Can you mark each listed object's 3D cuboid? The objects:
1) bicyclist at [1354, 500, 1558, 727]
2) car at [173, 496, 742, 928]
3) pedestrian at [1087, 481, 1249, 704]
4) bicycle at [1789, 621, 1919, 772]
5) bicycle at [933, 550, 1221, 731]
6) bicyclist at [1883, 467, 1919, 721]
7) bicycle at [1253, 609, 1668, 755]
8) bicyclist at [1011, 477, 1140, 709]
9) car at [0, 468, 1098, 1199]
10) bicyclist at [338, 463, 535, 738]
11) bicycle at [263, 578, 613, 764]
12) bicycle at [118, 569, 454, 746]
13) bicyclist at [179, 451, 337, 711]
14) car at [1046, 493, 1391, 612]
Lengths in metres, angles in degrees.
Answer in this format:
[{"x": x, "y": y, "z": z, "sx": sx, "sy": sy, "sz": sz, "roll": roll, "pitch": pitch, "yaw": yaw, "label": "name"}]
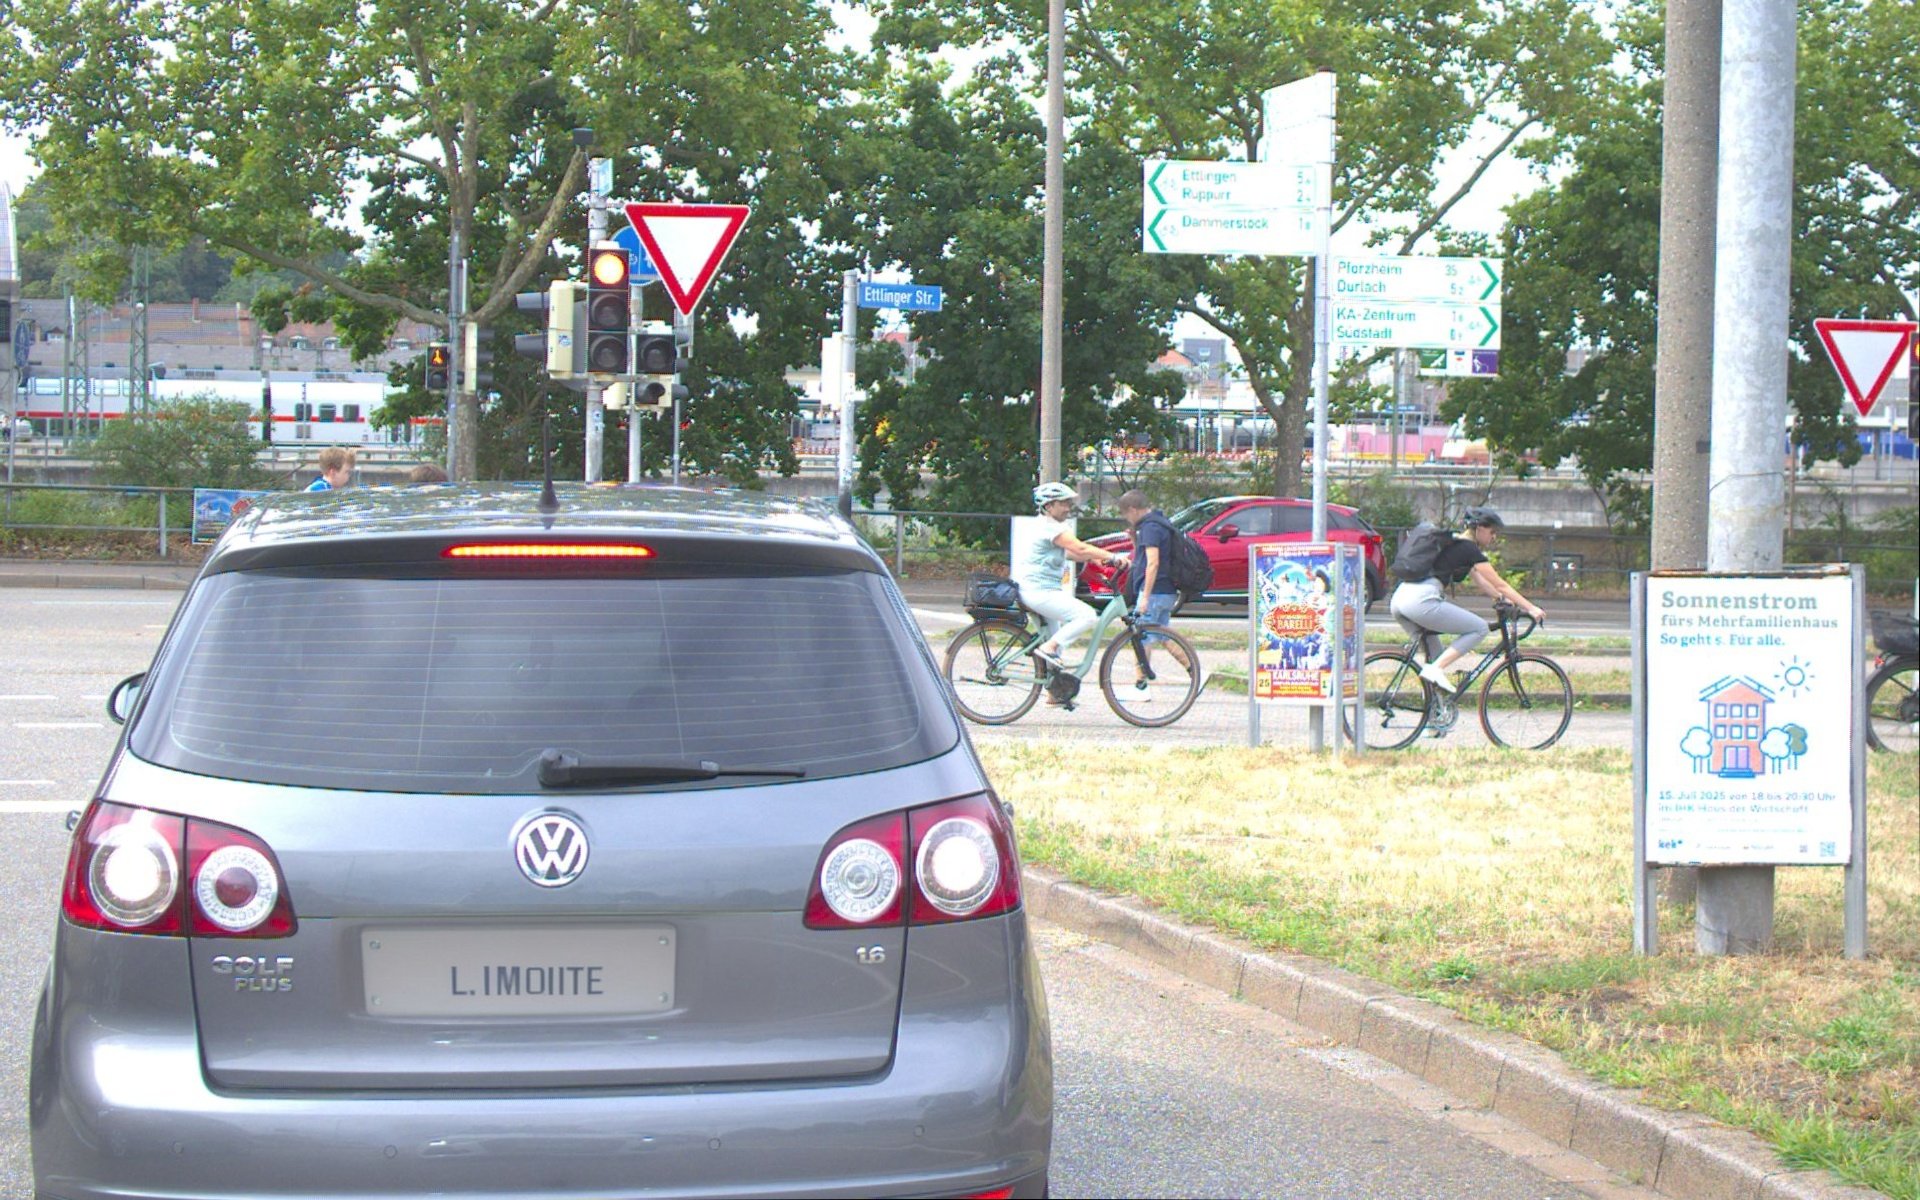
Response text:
[{"x": 3.208, "y": 0.076, "z": 22.269, "sx": 1.113, "sy": 1.431, "sz": 0.648, "roll": 0, "pitch": 2, "yaw": -16, "label": "bicyclist"}, {"x": -2.184, "y": 0.336, "z": 13.954, "sx": 1.740, "sy": 1.477, "sz": 4.083, "roll": 0, "pitch": 1, "yaw": -16, "label": "car"}, {"x": 1.653, "y": -0.073, "z": 27.249, "sx": 1.048, "sy": 1.704, "sz": 0.853, "roll": 2, "pitch": 2, "yaw": 17, "label": "pedestrian"}, {"x": 6.695, "y": 0.635, "z": 22.686, "sx": 2.227, "sy": 0.949, "sz": 0.812, "roll": 1, "pitch": 2, "yaw": -5, "label": "bicycle"}, {"x": 0.801, "y": 0.275, "z": 23.865, "sx": 1.900, "sy": 1.206, "sz": 0.643, "roll": 1, "pitch": 2, "yaw": -6, "label": "bicycle"}, {"x": 6.672, "y": -0.041, "z": 22.670, "sx": 0.880, "sy": 1.650, "sz": 0.812, "roll": 1, "pitch": 1, "yaw": -5, "label": "bicyclist"}, {"x": 3.244, "y": 0.522, "z": 22.286, "sx": 2.583, "sy": 0.887, "sz": 0.705, "roll": 0, "pitch": 2, "yaw": -16, "label": "bicycle"}, {"x": 0.794, "y": -0.057, "z": 23.838, "sx": 0.779, "sy": 1.575, "sz": 0.655, "roll": 1, "pitch": 2, "yaw": -6, "label": "bicyclist"}, {"x": -0.953, "y": 0.530, "z": 7.238, "sx": 1.740, "sy": 1.541, "sz": 4.083, "roll": 1, "pitch": 1, "yaw": -8, "label": "car"}, {"x": -2.995, "y": -0.006, "z": 19.626, "sx": 1.016, "sy": 1.534, "sz": 0.629, "roll": 0, "pitch": 2, "yaw": -17, "label": "bicyclist"}, {"x": -2.986, "y": 0.397, "z": 19.659, "sx": 1.900, "sy": 1.010, "sz": 0.629, "roll": 0, "pitch": 2, "yaw": -17, "label": "bicycle"}, {"x": -4.041, "y": 0.339, "z": 20.612, "sx": 1.900, "sy": 1.010, "sz": 0.629, "roll": 0, "pitch": 2, "yaw": -19, "label": "bicycle"}, {"x": -4.202, "y": -0.120, "z": 20.555, "sx": 0.838, "sy": 1.524, "sz": 0.629, "roll": 0, "pitch": 2, "yaw": -19, "label": "bicyclist"}, {"x": 3.241, "y": -0.595, "z": 43.215, "sx": 3.950, "sy": 1.443, "sz": 1.703, "roll": 0, "pitch": 2, "yaw": -20, "label": "car"}]
